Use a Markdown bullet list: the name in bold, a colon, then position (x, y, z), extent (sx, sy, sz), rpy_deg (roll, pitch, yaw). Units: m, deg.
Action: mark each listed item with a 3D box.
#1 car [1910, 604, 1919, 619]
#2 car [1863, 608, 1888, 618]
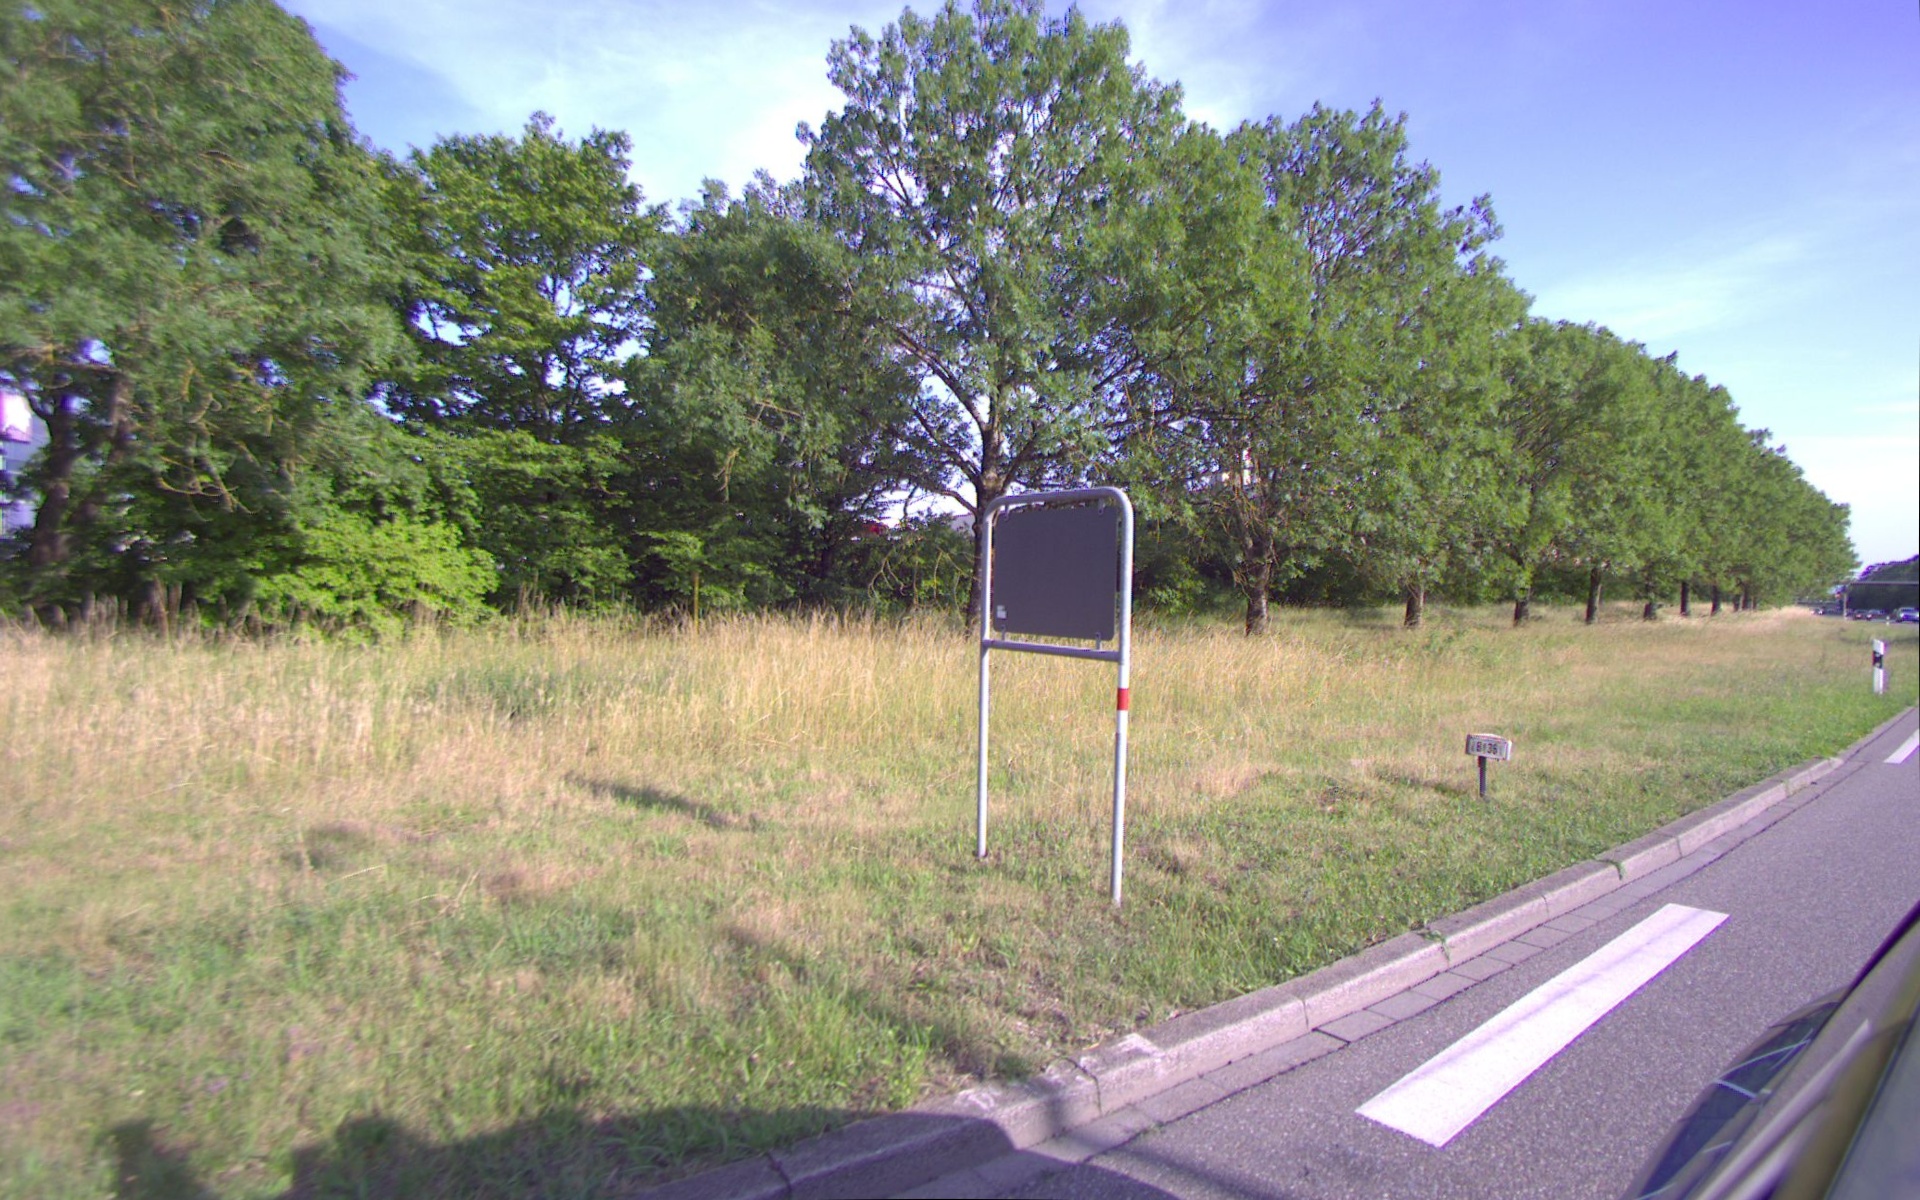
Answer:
- **car**: position (118.518, 1.440, 124.336), extent (1.889, 1.847, 4.302), rpy_deg (0, 0, 34)
- **car**: position (125.240, 1.774, 138.458), extent (1.889, 1.403, 4.302), rpy_deg (0, 0, 34)
